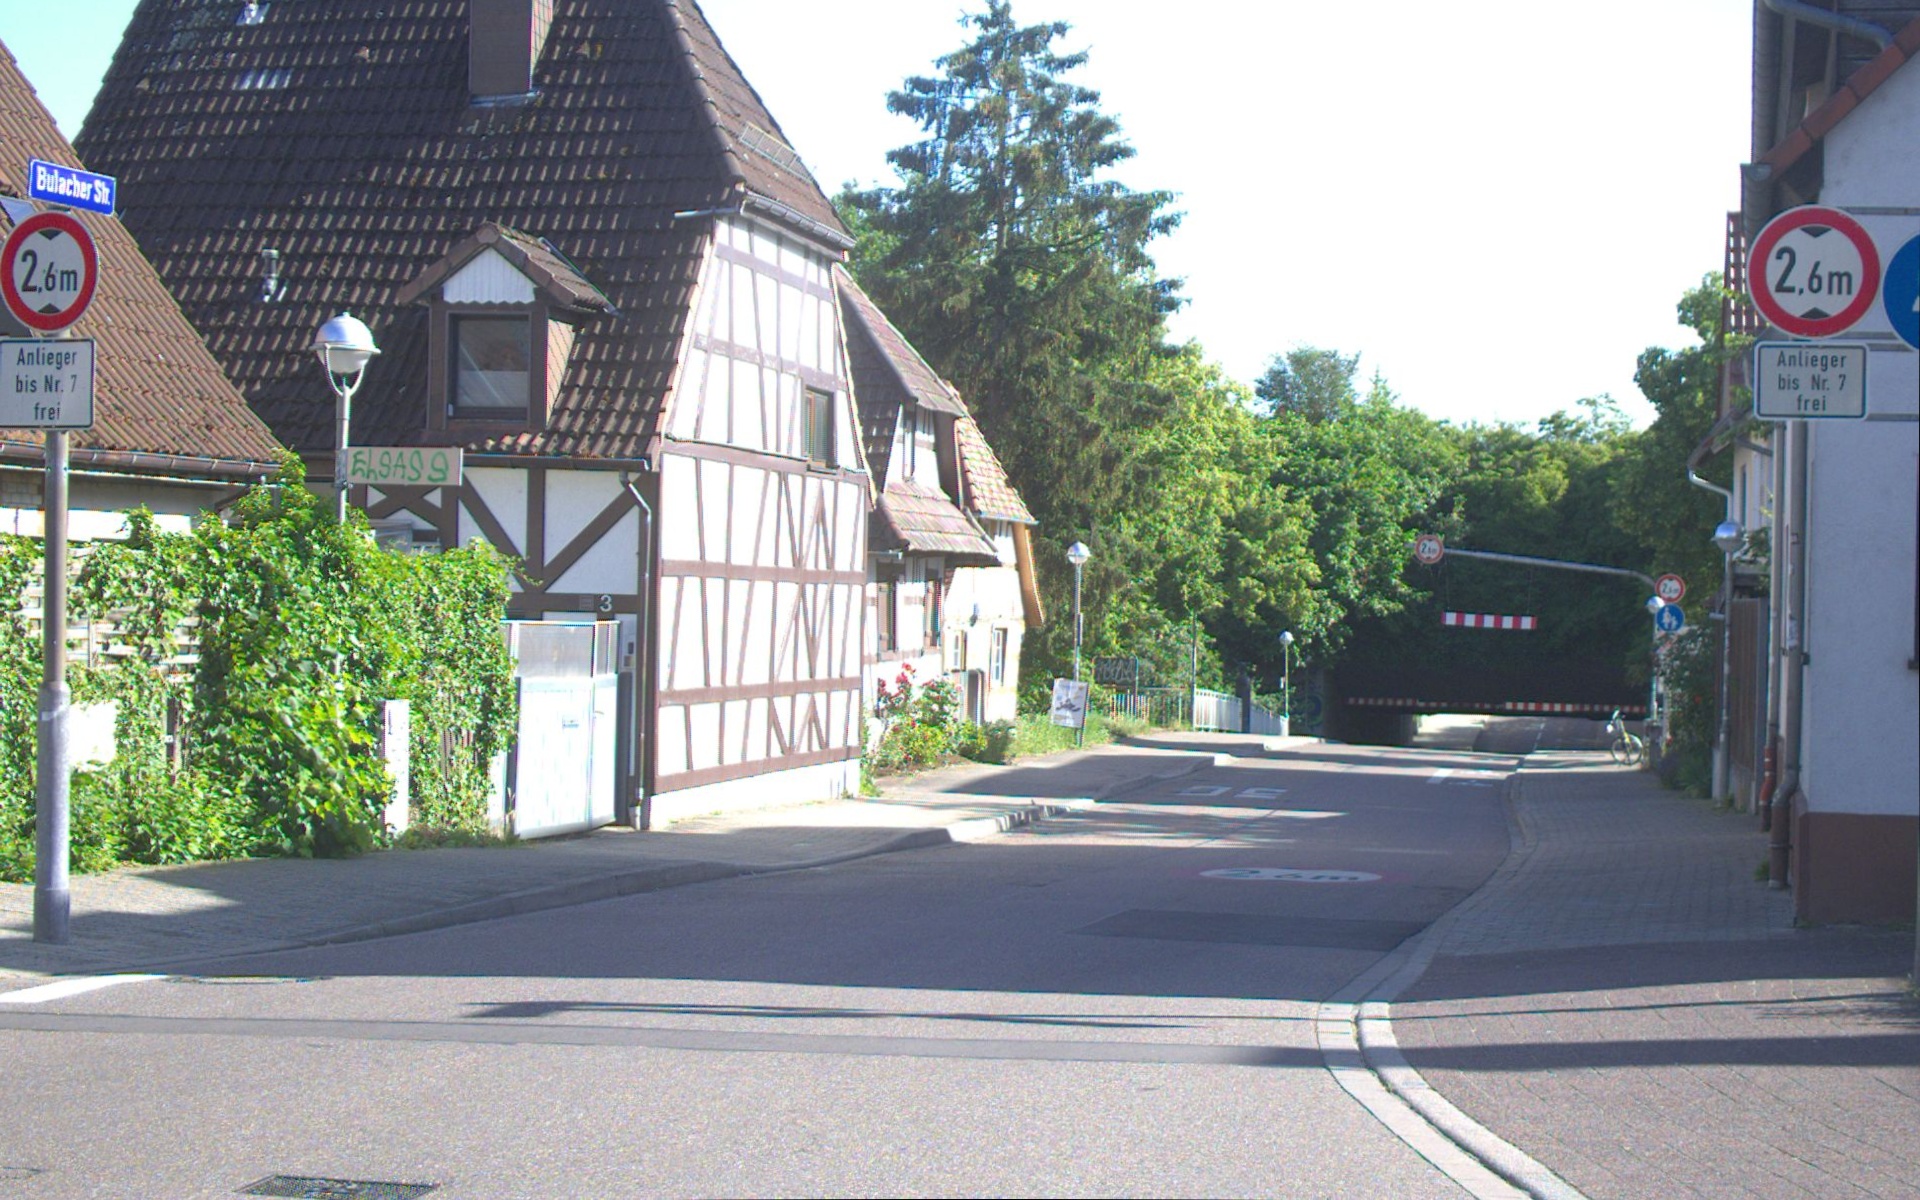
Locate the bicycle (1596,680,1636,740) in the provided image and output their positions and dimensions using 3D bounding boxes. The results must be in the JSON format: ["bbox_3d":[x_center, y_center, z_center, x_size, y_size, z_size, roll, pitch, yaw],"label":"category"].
[{"bbox_3d":[13.161,2.200,68.993,0.689,1.153,1.539,-3,-1,9],"label":"bicycle"}]
